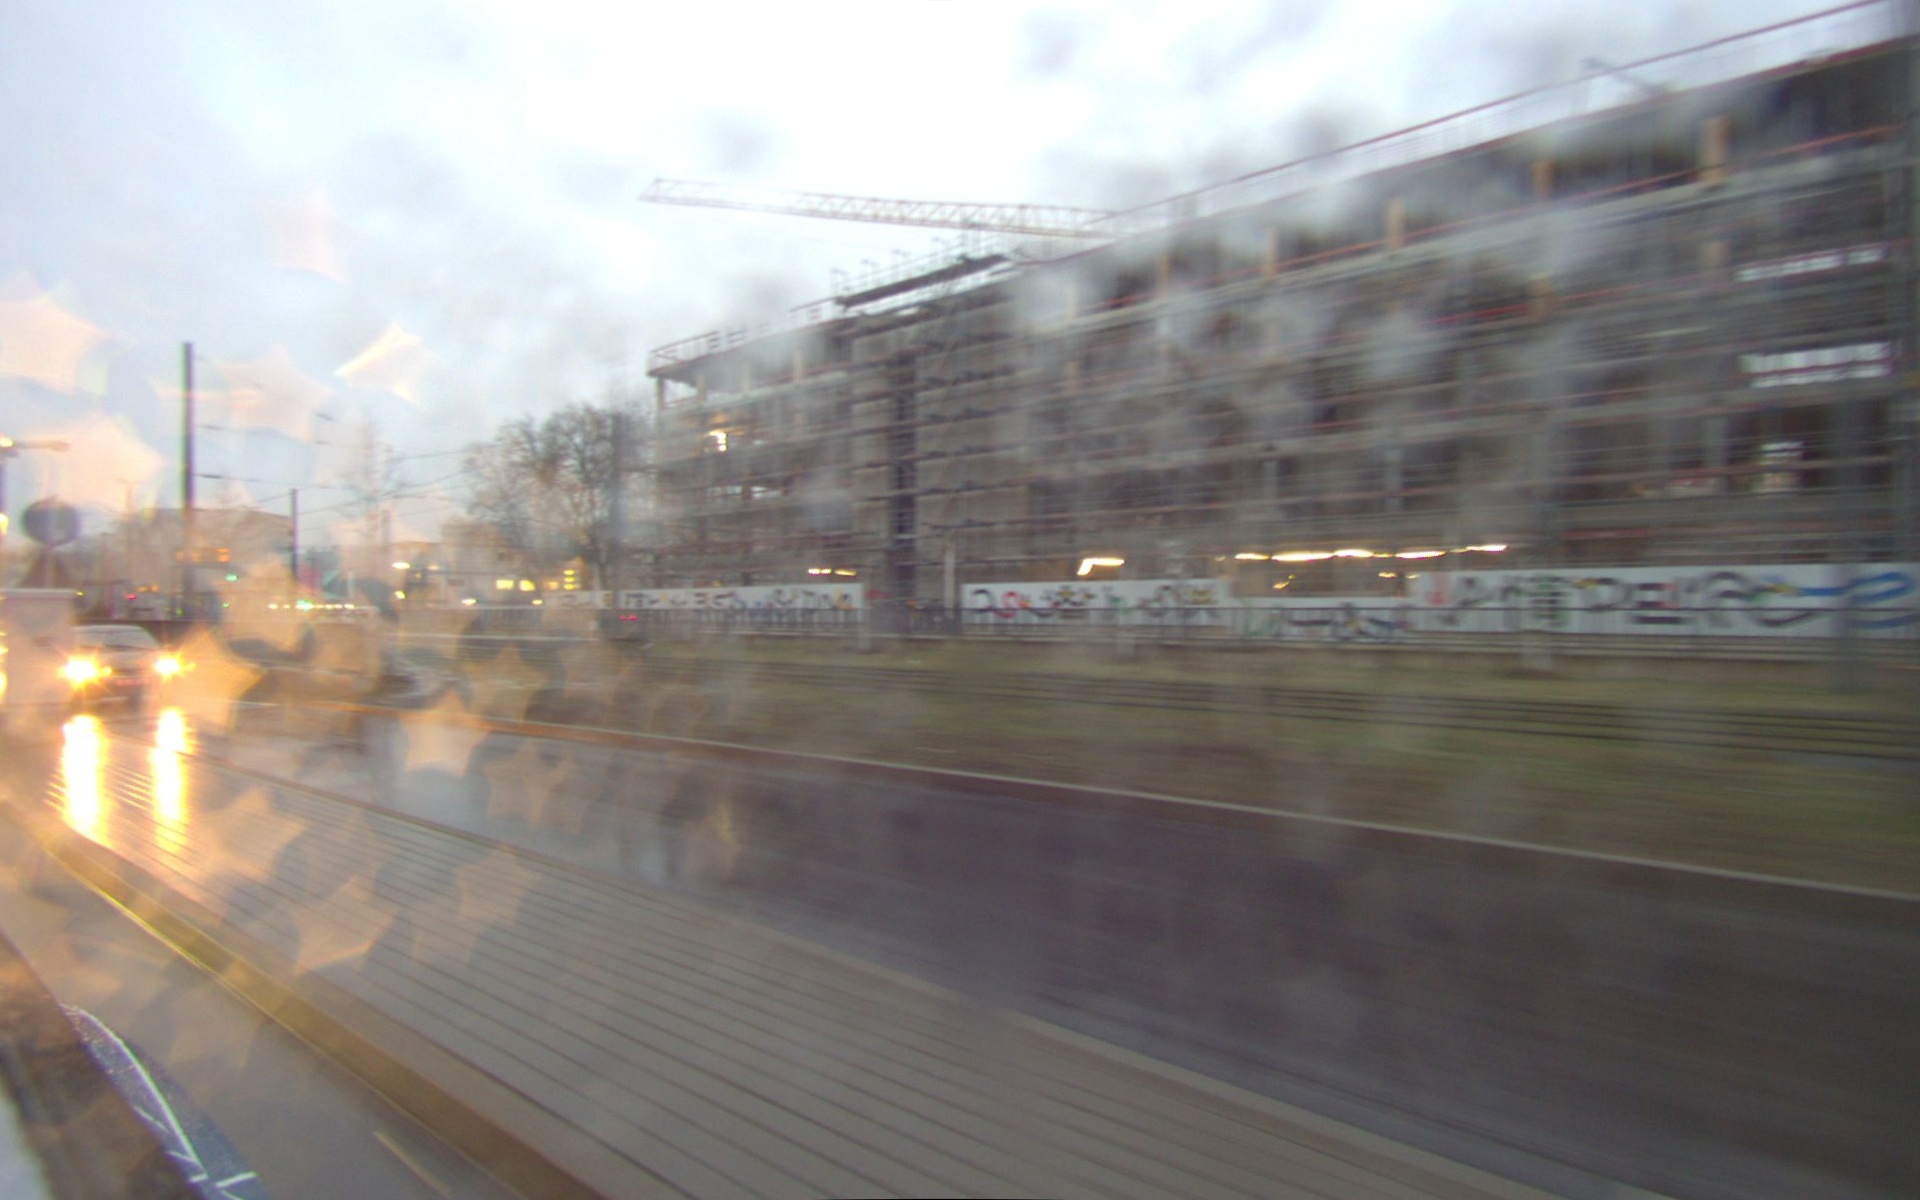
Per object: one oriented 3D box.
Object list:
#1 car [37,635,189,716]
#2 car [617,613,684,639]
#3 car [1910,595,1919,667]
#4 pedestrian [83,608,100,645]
[{"bbox_3d":[-17.567,1.479,20.939,4.002,1.464,1.786,-1,-2,41],"label":"car"},{"bbox_3d":[-18.229,1.551,59.515,4.337,1.425,1.665,-2,-1,40],"label":"car"},{"bbox_3d":[24.474,0.706,23.236,3.762,1.675,1.736,-1,0,41],"label":"car"},{"bbox_3d":[-40.741,1.233,47.462,0.576,1.714,0.741,-1,0,-40],"label":"pedestrian"}]
